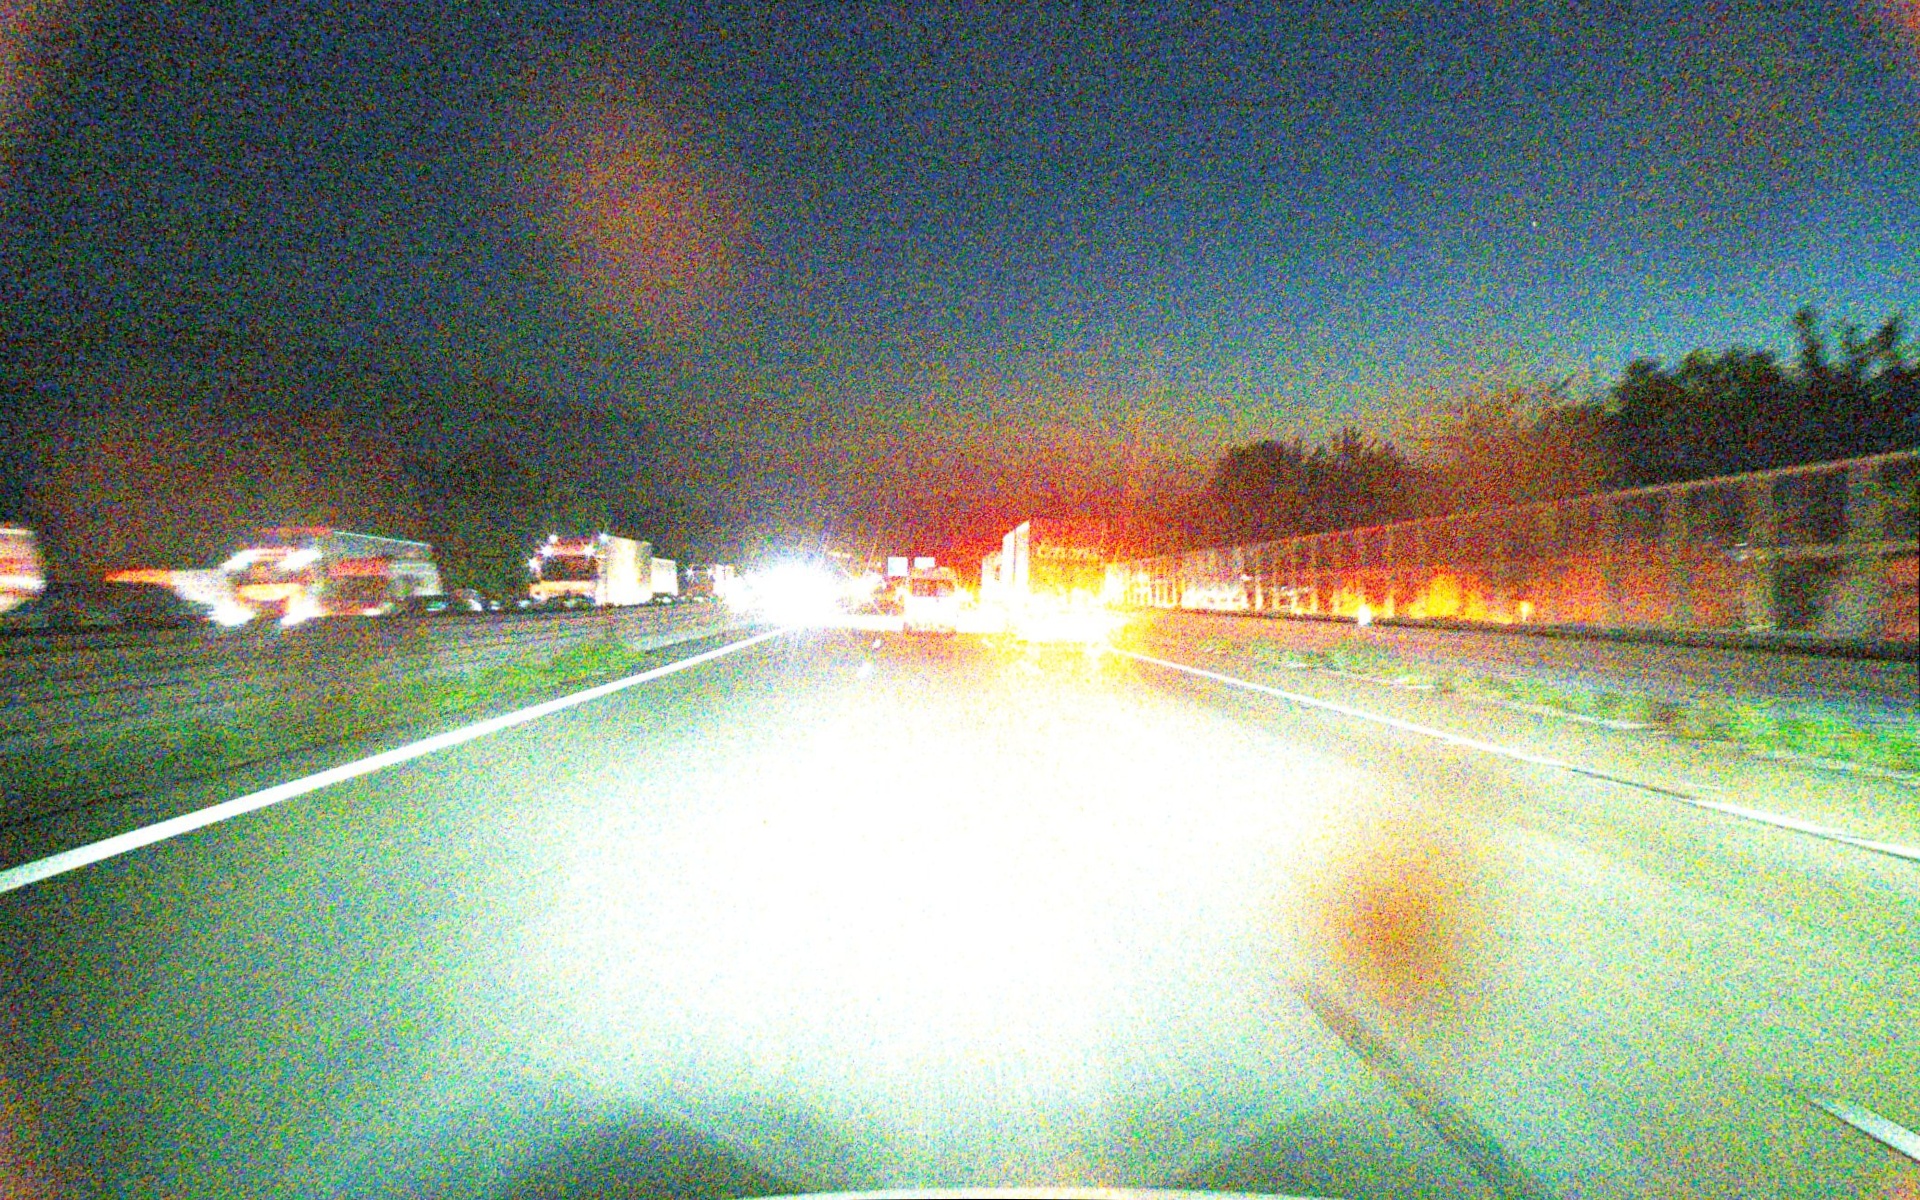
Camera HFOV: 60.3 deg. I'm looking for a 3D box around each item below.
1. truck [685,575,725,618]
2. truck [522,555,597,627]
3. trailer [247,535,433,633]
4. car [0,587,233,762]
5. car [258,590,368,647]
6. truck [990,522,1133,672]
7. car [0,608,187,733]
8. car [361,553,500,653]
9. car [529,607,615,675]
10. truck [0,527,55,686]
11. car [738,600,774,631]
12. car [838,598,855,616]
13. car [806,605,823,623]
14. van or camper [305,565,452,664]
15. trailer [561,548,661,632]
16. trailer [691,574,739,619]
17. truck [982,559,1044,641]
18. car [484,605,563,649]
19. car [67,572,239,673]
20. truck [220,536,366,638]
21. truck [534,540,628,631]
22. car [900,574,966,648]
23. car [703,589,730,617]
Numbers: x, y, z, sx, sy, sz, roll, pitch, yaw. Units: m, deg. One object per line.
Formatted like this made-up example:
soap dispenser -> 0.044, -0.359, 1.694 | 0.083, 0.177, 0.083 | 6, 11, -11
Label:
truck -> -23.904, -0.258, 155.469 | 2.802, 3.752, 6.599 | 2, -2, -2
truck -> -21.810, -0.461, 90.356 | 2.817, 3.738, 6.046 | 2, 0, -4
trailer -> -24.879, -0.504, 67.418 | 2.900, 3.502, 13.430 | 2, -1, -2
car -> -11.390, 0.924, 21.756 | 1.954, 2.049, 3.997 | 2, -2, -3
car -> -20.667, 0.613, 53.017 | 1.954, 1.675, 4.310 | 2, -2, -3
truck -> 3.456, 0.118, 63.514 | 3.835, 4.708, 21.012 | -2, -1, -1
car -> -15.836, 1.223, 29.872 | 1.954, 2.049, 3.997 | 2, -2, -3
car -> -11.877, 0.117, 37.386 | 1.954, 2.049, 3.997 | 2, -2, -3
car -> -12.582, 1.340, 53.839 | 1.954, 2.049, 3.997 | 2, -2, -3
truck -> -19.674, 0.065, 29.878 | 2.707, 3.038, 7.399 | 0, -2, -2
car -> -14.831, 1.160, 120.485 | 1.953, 2.049, 5.323 | 2, -2, -1
car -> -14.051, 0.921, 204.726 | 1.955, 2.049, 3.994 | 2, -2, -6
car -> -18.030, 1.783, 205.214 | 1.955, 2.049, 3.994 | 2, -2, -6
van or camper -> -16.954, 0.428, 48.704 | 2.042, 2.678, 7.599 | 0, -1, -3
trailer -> -17.343, -0.354, 83.078 | 2.828, 3.736, 12.208 | 2, -2, -3
trailer -> -24.159, -0.201, 163.564 | 2.827, 3.917, 15.060 | 2, -2, -2
truck -> 3.134, 0.029, 101.631 | 3.276, 4.554, 13.909 | 2, 0, 0
car -> -16.376, 1.037, 62.257 | 1.694, 1.512, 4.645 | 2, -2, -1
car -> -24.288, 0.645, 50.143 | 2.268, 2.766, 6.353 | 2, 0, -3
truck -> -24.660, -0.412, 61.503 | 2.900, 3.502, 6.358 | 2, -1, -2
truck -> -16.998, -0.571, 74.623 | 2.817, 3.738, 6.775 | 2, -2, -3
car -> -0.987, 0.482, 63.730 | 2.289, 2.687, 5.247 | 1, -2, 1
car -> -19.561, 0.256, 133.071 | 1.955, 2.049, 3.994 | 2, -2, -6
